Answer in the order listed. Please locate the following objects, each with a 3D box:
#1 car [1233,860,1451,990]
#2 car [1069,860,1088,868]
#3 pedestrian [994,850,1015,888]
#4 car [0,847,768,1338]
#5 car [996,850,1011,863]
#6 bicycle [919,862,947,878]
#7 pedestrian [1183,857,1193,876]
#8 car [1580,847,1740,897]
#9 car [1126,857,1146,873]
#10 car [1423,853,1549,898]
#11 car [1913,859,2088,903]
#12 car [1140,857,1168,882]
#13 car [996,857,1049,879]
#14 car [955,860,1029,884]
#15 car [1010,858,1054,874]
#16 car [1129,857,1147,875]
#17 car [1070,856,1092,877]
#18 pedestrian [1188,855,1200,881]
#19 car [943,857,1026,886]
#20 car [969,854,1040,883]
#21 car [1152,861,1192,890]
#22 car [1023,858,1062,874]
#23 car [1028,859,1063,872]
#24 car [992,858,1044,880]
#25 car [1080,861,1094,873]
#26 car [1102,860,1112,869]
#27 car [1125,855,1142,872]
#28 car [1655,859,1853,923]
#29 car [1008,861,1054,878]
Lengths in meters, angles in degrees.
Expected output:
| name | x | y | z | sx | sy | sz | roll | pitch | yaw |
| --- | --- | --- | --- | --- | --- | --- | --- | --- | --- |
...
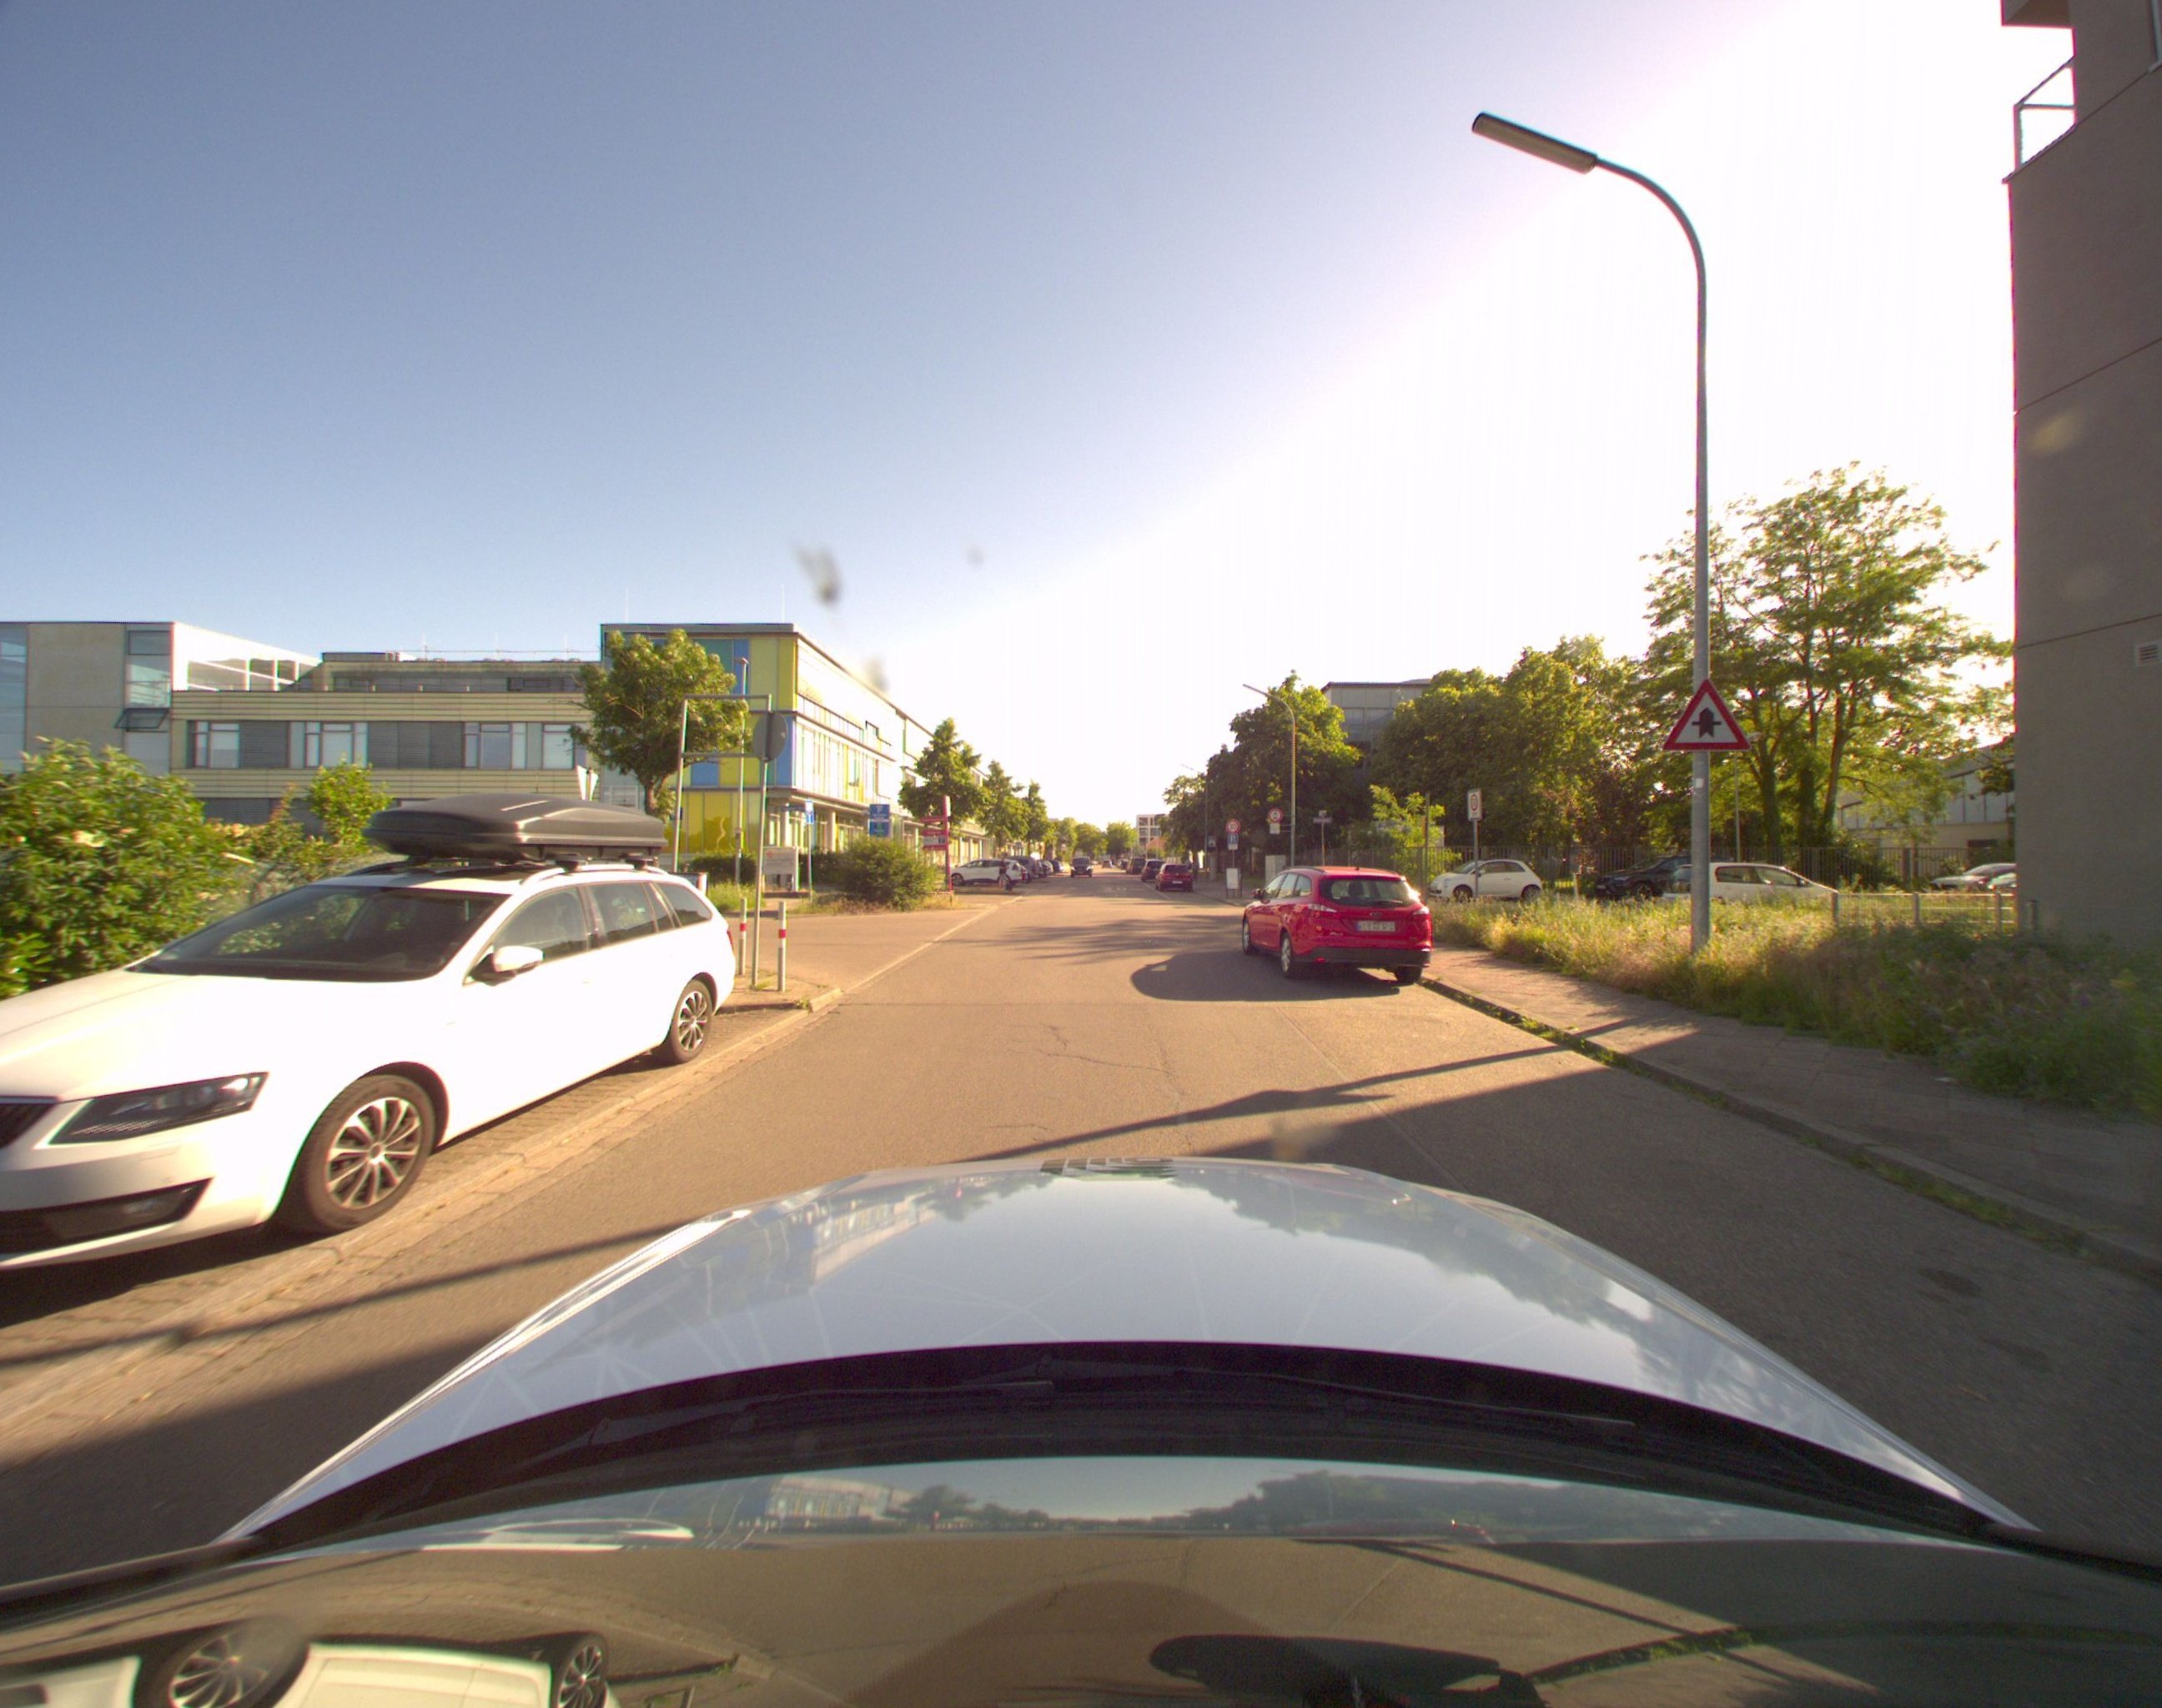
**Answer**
| name | x | y | z | sx | sy | sz | roll | pitch | yaw |
| --- | --- | --- | --- | --- | --- | --- | --- | --- | --- |
| car | 3.548 | 0.868 | 11.988 | 1.812 | 1.500 | 4.452 | 2 | 0 | 1 |
| car | -0.564 | 2.111 | 172.966 | 3.972 | 1.519 | 2.000 | 0 | -2 | 1 |
| pedestrian | -3.837 | 0.747 | 40.887 | 0.854 | 1.842 | 0.826 | 2 | -1 | 3 |
| car | -3.666 | 0.771 | 4.864 | 1.690 | 1.513 | 4.518 | 2 | 0 | 1 |
| car | -12.173 | 0.435 | 128.295 | 1.986 | 2.014 | 4.000 | 0 | -2 | 1 |
| bicycle | -11.145 | 1.250 | 61.537 | 0.861 | 1.153 | 2.385 | 1 | -1 | 22 |
| pedestrian | 9.503 | 1.088 | 72.132 | 0.696 | 1.661 | 0.752 | -3 | -1 | 1 |
| car | 19.478 | 0.595 | 27.528 | 4.136 | 1.637 | 1.756 | 0 | -1 | 2 |
| car | 6.139 | 1.217 | 91.570 | 1.986 | 1.823 | 4.199 | -1 | 0 | 1 |
| car | 13.794 | 0.729 | 27.873 | 3.533 | 1.486 | 1.601 | 0 | -1 | 2 |
| car | 30.800 | 0.875 | 27.349 | 3.974 | 1.437 | 1.711 | 0 | -1 | 0 |
| car | 5.360 | 1.127 | 60.369 | 1.805 | 1.666 | 4.595 | 1 | 0 | 2 |
| car | -4.728 | 1.147 | 66.580 | 4.236 | 1.612 | 2.046 | 1 | -1 | -3 |
| car | -5.530 | 1.115 | 50.990 | 4.417 | 1.501 | 1.828 | 0 | -1 | 1 |
| car | -4.719 | 1.177 | 79.397 | 4.204 | 1.462 | 1.870 | 1 | -1 | -3 |
| car | 5.982 | 1.204 | 85.329 | 1.726 | 1.830 | 3.906 | 0 | 0 | 2 |
| car | 0.008 | 1.164 | 76.081 | 1.948 | 1.867 | 5.256 | 0 | -1 | 1 |
| pedestrian | 7.845 | 0.941 | 56.550 | 0.715 | 1.758 | 0.885 | -2 | 0 | 2 |
| car | -5.689 | 1.011 | 48.323 | 4.590 | 1.651 | 1.870 | 0 | -1 | 4 |
| car | -5.285 | 0.975 | 56.638 | 4.725 | 1.865 | 1.828 | 1 | 0 | 1 |
| car | 4.897 | 1.153 | 44.329 | 1.714 | 1.455 | 4.652 | 1 | 0 | 1 |
| car | -4.235 | 1.295 | 89.393 | 4.204 | 1.603 | 1.870 | 1 | -1 | -3 |
| car | -4.128 | 1.310 | 94.326 | 3.976 | 1.552 | 1.999 | 0 | 0 | -2 |
| car | -4.878 | 1.161 | 63.627 | 3.977 | 1.607 | 1.870 | 1 | -1 | -3 |
| car | 0.804 | 1.648 | 104.859 | 1.697 | 1.451 | 4.087 | -1 | -1 | 1 |
| car | 4.513 | 1.806 | 141.525 | 1.737 | 1.543 | 4.001 | 1 | -1 | 1 |
| car | 6.254 | 1.168 | 97.819 | 1.868 | 1.978 | 4.001 | -1 | 0 | 1 |
| car | 16.148 | 0.858 | 19.695 | 3.309 | 1.458 | 1.718 | 0 | 0 | 6 |
| car | -4.404 | 1.340 | 72.222 | 3.977 | 1.359 | 1.741 | 1 | -1 | -3 |
